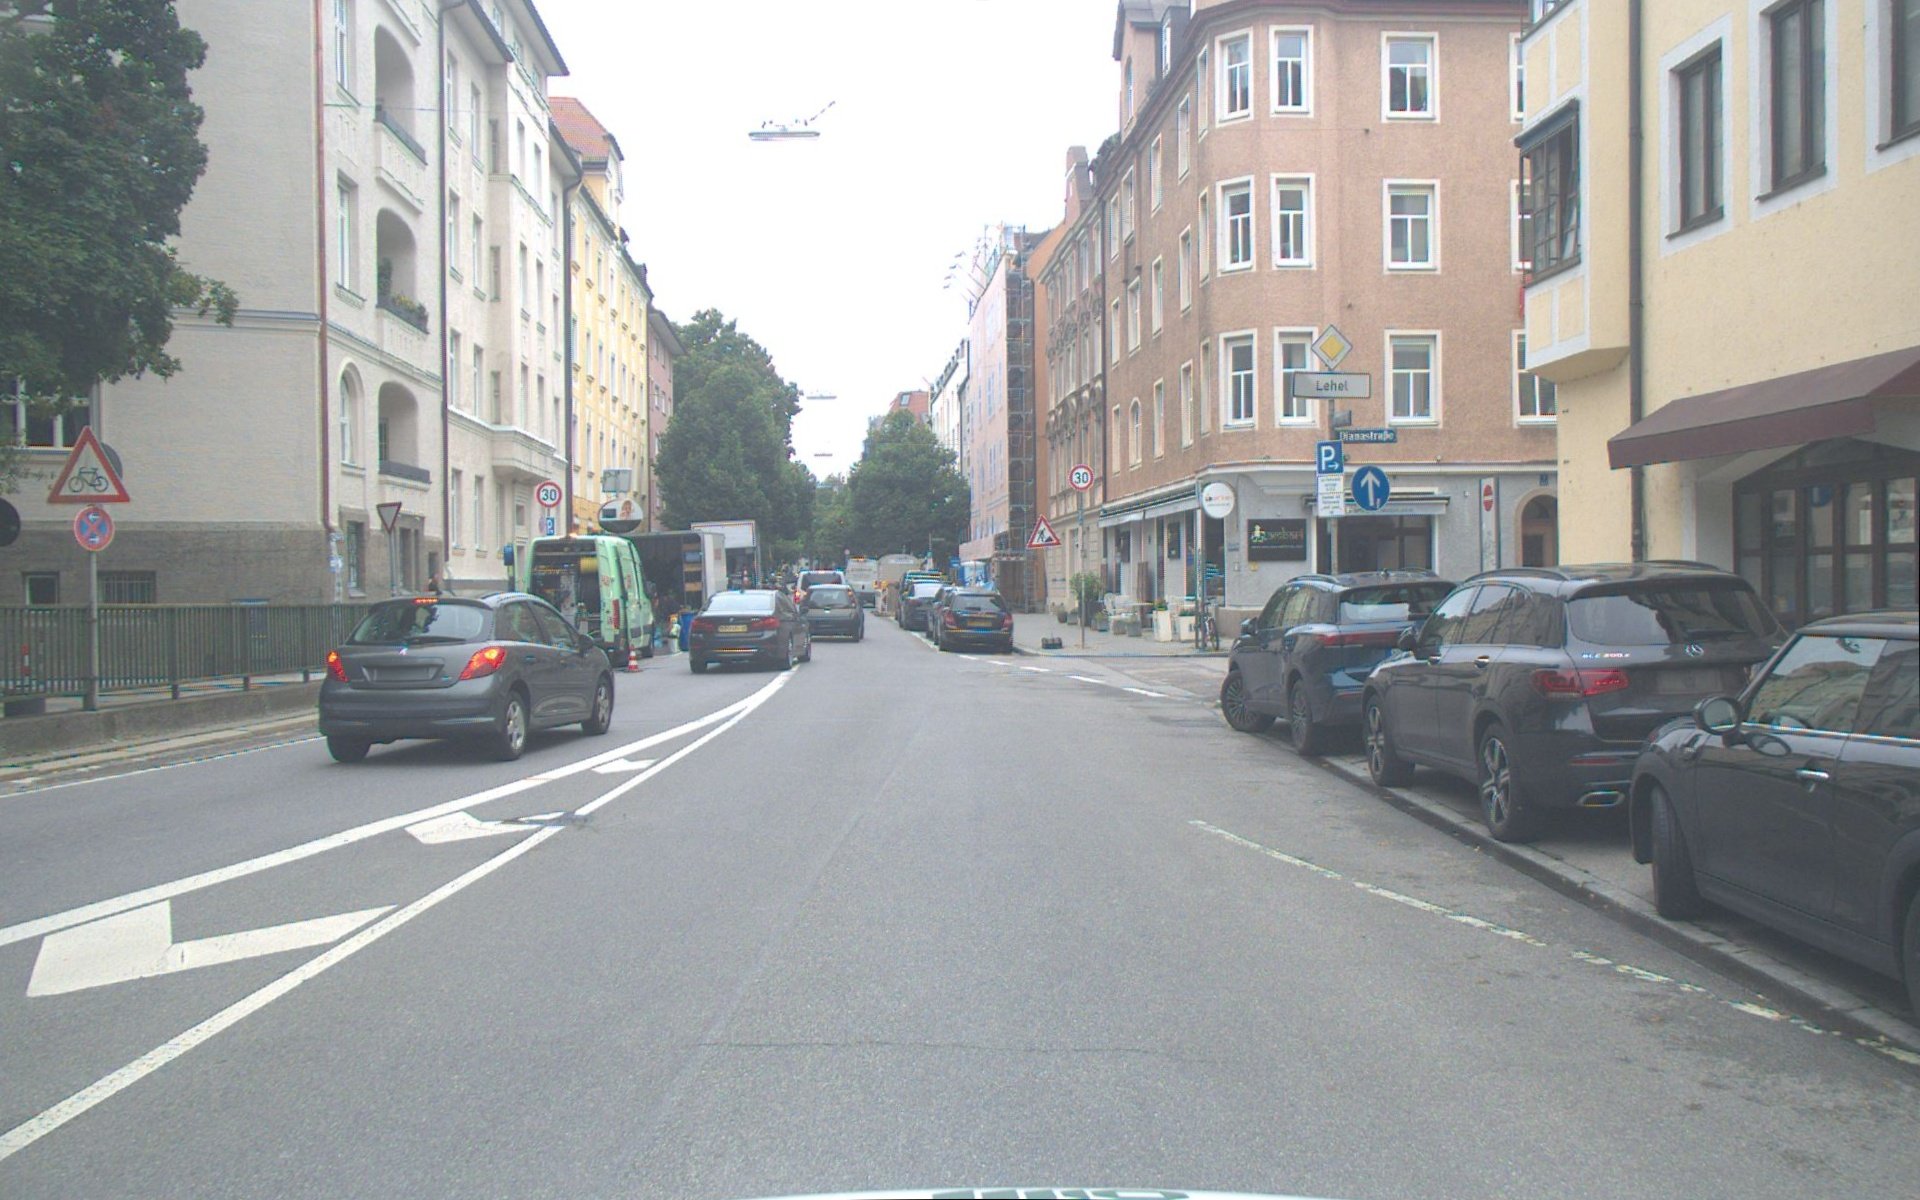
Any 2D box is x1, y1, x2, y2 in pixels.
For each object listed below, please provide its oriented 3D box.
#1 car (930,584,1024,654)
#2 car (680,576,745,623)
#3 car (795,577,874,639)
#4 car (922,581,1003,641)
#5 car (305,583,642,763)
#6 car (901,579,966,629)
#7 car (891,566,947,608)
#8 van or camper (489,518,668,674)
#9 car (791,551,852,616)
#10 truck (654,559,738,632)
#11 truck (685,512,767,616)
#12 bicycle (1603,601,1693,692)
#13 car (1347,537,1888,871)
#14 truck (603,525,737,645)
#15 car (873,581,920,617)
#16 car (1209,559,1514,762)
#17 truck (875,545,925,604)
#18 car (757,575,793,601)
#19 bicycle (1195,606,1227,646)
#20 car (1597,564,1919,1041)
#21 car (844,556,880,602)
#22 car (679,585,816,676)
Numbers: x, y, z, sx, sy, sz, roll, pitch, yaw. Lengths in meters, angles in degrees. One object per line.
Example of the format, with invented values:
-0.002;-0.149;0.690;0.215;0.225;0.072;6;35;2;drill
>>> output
0.355;0.413;39.667;1.808;1.454;4.179;2;1;-5;car
-8.959;-0.052;60.050;1.950;1.638;4.138;0;1;-3;car
-3.275;0.171;43.706;1.951;1.454;4.138;-1;2;-3;car
0.021;0.260;45.846;1.808;1.454;4.136;2;1;-5;car
-4.496;0.598;15.956;1.721;1.486;4.077;-1;1;5;car
-0.914;0.114;54.430;1.808;1.454;4.302;2;1;-5;car
-1.561;-0.516;62.185;1.951;1.454;4.138;-1;2;-3;car
-7.741;-0.160;34.293;2.549;2.889;6.182;-1;2;-3;van or camper
-4.738;-0.607;57.167;1.951;2.111;4.138;-1;2;-3;car
-8.373;-0.166;52.871;2.242;2.209;4.802;0;1;-5;truck
-9.508;-1.448;67.754;2.954;4.020;6.988;0;1;-5;truck
7.979;0.518;19.234;0.265;0.994;1.683;0;1;-3;bicycle
4.057;0.525;11.171;1.721;1.708;4.706;-2;1;0;car
-7.683;-0.479;44.715;2.718;2.923;7.197;-1;2;-3;truck
-2.774;-0.068;71.917;1.951;1.454;4.138;-1;2;-3;car
3.871;0.506;16.778;1.782;1.708;4.508;-2;1;-2;car
-3.219;-1.343;87.970;2.443;3.025;5.323;0;1;-4;truck
-10.591;-0.691;94.850;1.902;1.473;3.862;0;1;-5;car
5.368;0.554;35.406;0.447;0.819;1.326;0;1;-2;bicycle
4.032;0.638;6.459;1.720;1.522;3.824;-2;1;3;car
-5.577;-1.200;94.572;1.901;2.523;4.781;0;1;-2;car
-3.906;0.506;31.229;1.949;1.454;4.906;-1;2;0;car
